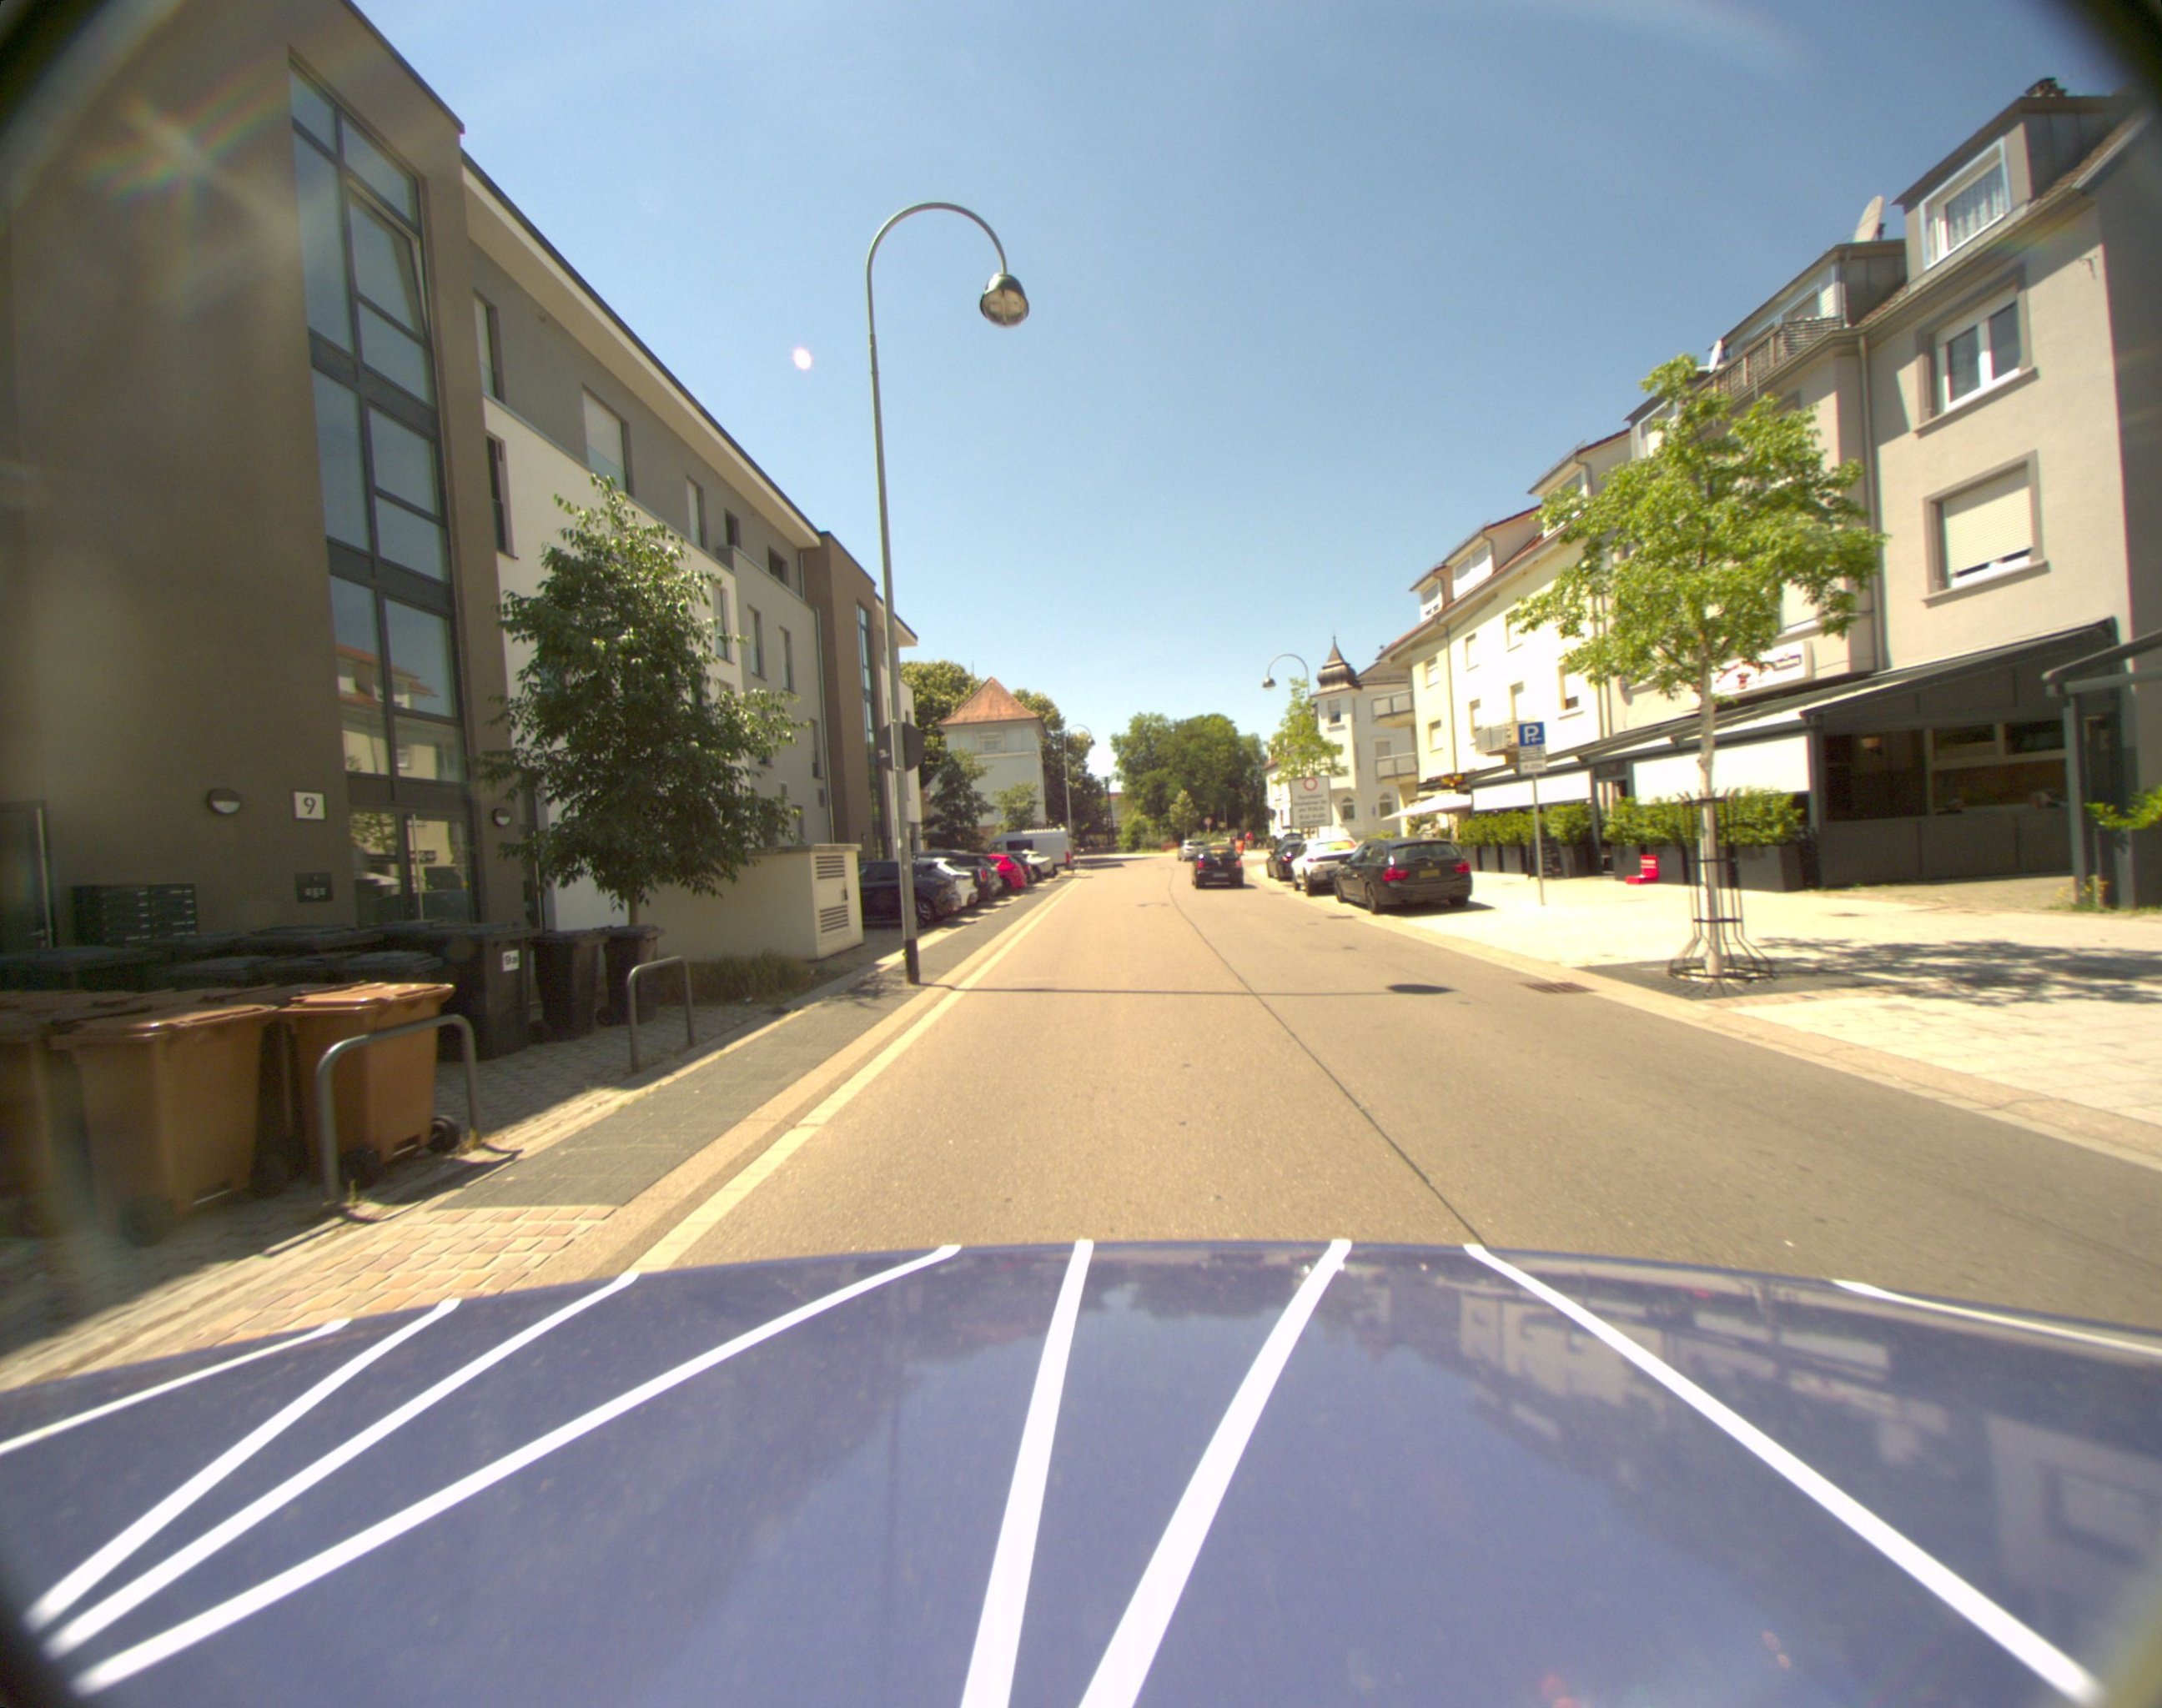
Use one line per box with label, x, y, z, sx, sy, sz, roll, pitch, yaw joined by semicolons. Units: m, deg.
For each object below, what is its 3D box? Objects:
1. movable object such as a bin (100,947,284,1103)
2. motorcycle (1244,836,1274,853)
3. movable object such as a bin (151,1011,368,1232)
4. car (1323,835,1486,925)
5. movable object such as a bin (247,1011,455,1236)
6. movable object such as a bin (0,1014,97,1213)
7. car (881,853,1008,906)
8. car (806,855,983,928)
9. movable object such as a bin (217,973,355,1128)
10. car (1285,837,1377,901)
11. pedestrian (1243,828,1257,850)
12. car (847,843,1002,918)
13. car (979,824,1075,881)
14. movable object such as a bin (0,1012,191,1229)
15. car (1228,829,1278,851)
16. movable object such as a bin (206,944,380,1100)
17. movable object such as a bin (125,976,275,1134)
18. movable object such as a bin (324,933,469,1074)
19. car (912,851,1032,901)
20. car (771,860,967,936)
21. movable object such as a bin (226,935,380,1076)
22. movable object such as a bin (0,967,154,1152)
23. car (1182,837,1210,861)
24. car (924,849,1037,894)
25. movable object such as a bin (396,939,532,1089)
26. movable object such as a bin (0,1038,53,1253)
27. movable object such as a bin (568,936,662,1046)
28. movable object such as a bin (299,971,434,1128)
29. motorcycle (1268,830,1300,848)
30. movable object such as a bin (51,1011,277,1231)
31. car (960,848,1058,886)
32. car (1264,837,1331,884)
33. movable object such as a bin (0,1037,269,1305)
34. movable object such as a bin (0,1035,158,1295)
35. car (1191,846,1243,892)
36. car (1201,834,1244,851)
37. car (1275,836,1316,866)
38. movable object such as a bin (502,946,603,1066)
movable object such as a bin;-6.819;1.290;5.859;0.647;1.054;0.625;-2;1;4
motorcycle;15.141;-0.772;64.716;2.322;1.317;0.726;-3;1;5
movable object such as a bin;-4.114;1.315;3.840;0.468;0.925;0.528;-2;1;3
car;6.470;0.438;15.768;1.758;1.437;4.450;-6;0;6
movable object such as a bin;-3.596;1.304;3.780;0.474;0.925;0.528;-2;1;3
movable object such as a bin;-5.668;1.346;3.914;0.466;0.925;0.522;-2;1;3
car;-4.240;0.787;23.973;3.616;1.454;1.617;-2;1;1
car;-4.461;0.872;18.599;3.817;1.474;1.778;-3;1;1
movable object such as a bin;-5.468;1.332;5.254;0.483;0.918;0.437;-2;1;-20
car;6.845;0.354;21.162;1.684;1.475;3.770;-5;0;8
pedestrian;13.533;-1.202;60.802;0.758;1.755;0.802;-3;1;-7
car;-4.266;0.697;21.118;3.817;1.776;1.840;-3;1;1
car;-2.853;-0.089;41.057;4.866;2.720;1.851;-3;1;3
movable object such as a bin;-5.124;1.332;3.892;0.466;0.925;0.522;-2;1;3
car;15.086;-1.219;66.956;4.077;1.729;1.815;-3;1;7
movable object such as a bin;-6.045;1.268;5.859;0.647;1.054;0.625;-2;1;4
movable object such as a bin;-5.988;1.346;5.188;0.483;0.918;0.437;-2;1;-20
movable object such as a bin;-5.826;1.249;6.507;0.648;1.054;0.624;-2;1;-9
car;-3.734;0.744;26.457;3.817;1.454;1.652;-3;1;1
car;-4.445;0.908;16.233;3.665;1.437;1.535;-2;1;4
movable object such as a bin;-6.683;1.276;6.564;0.648;1.054;0.624;-2;1;-9
movable object such as a bin;-6.677;1.308;4.933;0.571;1.036;0.559;-2;1;-11
car;7.987;-0.401;53.041;1.684;1.475;4.087;-4;1;7
car;-4.042;0.687;31.044;4.358;1.542;1.652;-3;1;0
movable object such as a bin;-4.846;1.239;5.996;0.570;1.054;0.560;-2;1;4
movable object such as a bin;-5.111;1.337;3.317;0.474;0.925;0.528;-2;1;3
movable object such as a bin;-4.365;1.273;7.140;0.563;0.926;0.465;-2;1;-3
movable object such as a bin;-4.884;1.313;5.222;0.517;0.918;0.437;-2;1;-20
motorcycle;16.461;-1.178;61.581;2.322;1.317;0.726;-3;1;5
movable object such as a bin;-4.621;1.322;3.862;0.466;0.925;0.522;-2;1;3
car;-3.392;0.603;36.245;4.380;1.521;1.719;-3;1;2
car;7.939;0.194;28.244;1.684;1.475;4.341;-5;0;8
movable object such as a bin;-4.024;1.315;3.254;0.474;0.925;0.528;-2;1;3
movable object such as a bin;-4.601;1.322;3.307;0.474;0.925;0.528;-2;1;3
car;4.726;0.458;26.742;1.619;1.445;3.866;-2;1;8
car;14.368;-1.201;77.059;3.945;1.528;1.831;-3;1;-32
car;11.053;-0.150;39.333;1.899;1.433;3.779;-1;0;13
movable object such as a bin;-4.529;1.290;6.537;0.514;0.926;0.465;-2;1;-3
